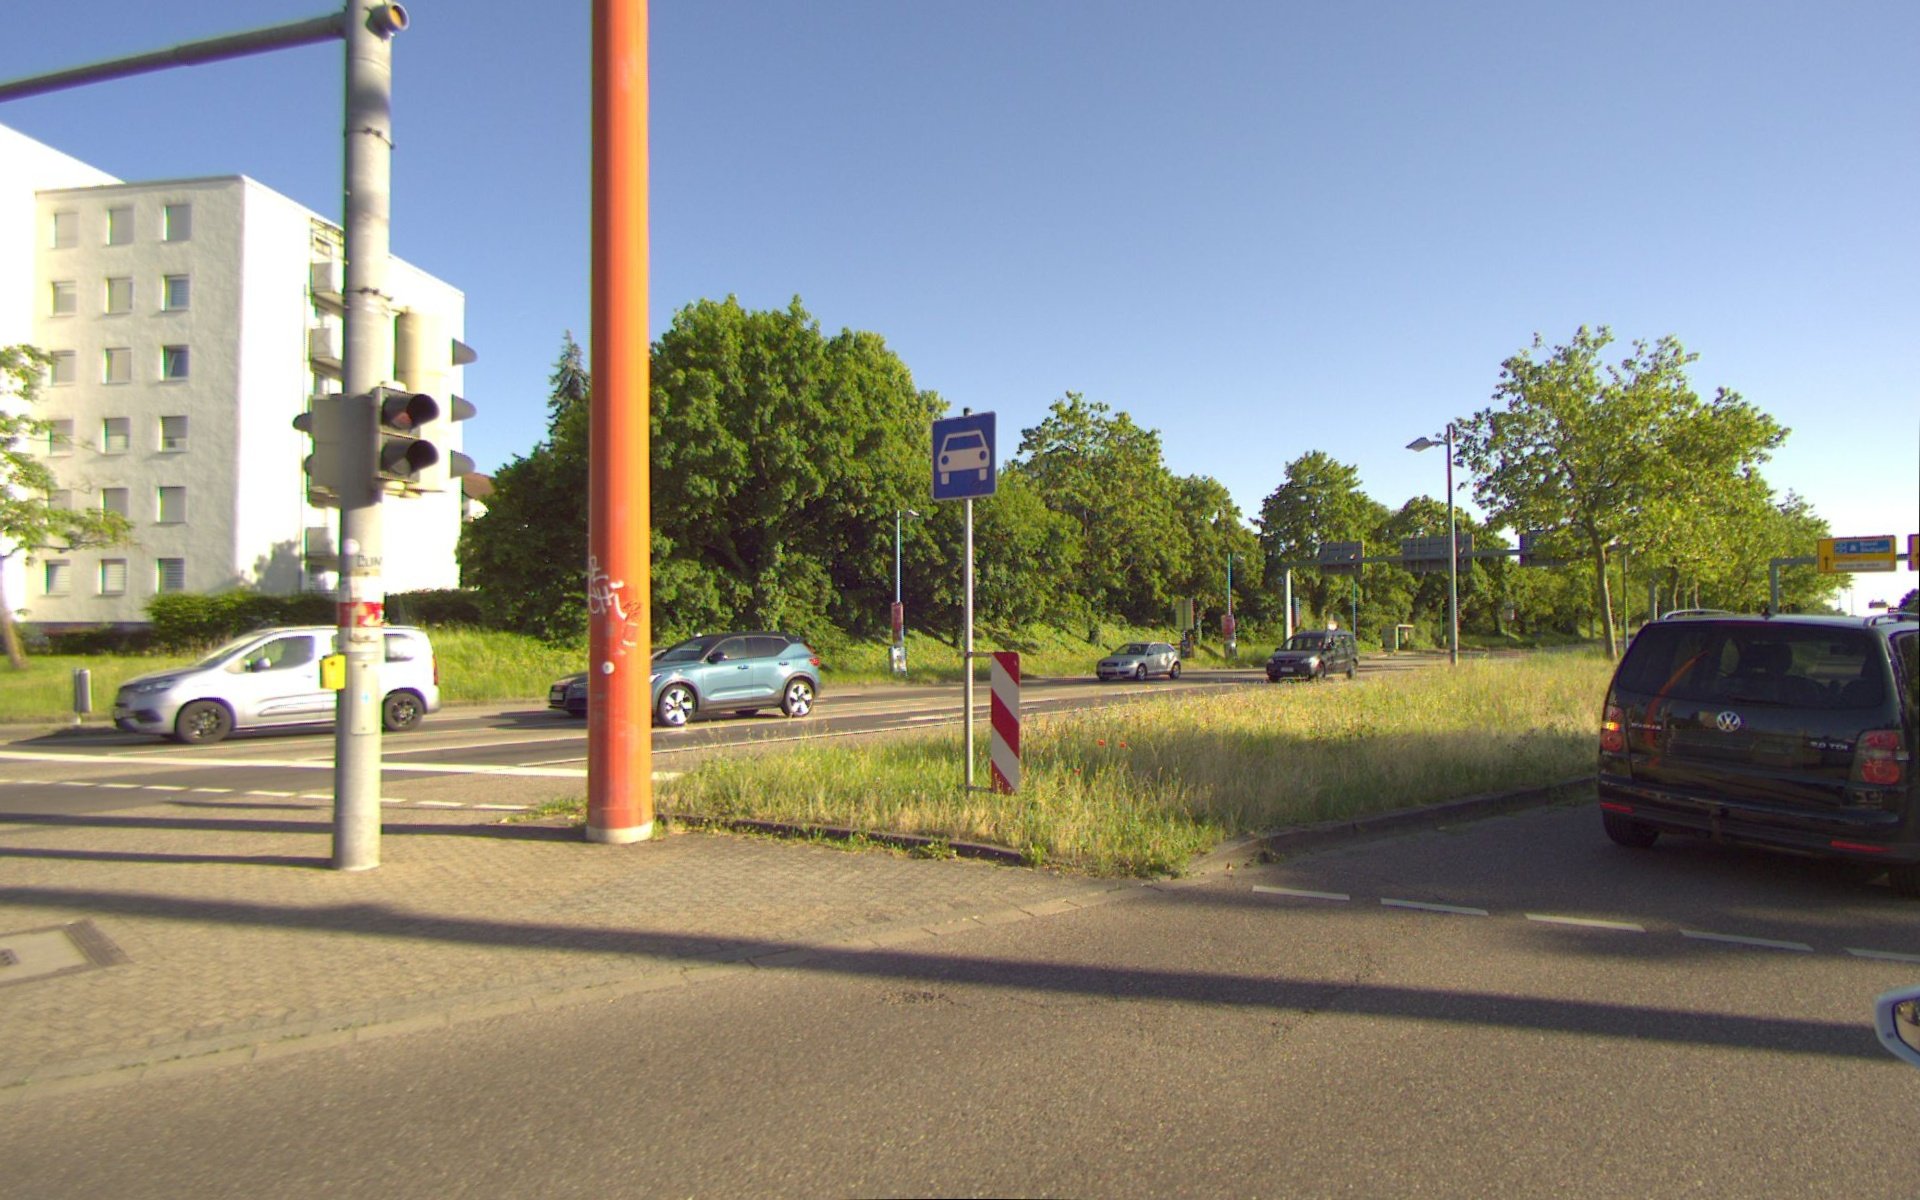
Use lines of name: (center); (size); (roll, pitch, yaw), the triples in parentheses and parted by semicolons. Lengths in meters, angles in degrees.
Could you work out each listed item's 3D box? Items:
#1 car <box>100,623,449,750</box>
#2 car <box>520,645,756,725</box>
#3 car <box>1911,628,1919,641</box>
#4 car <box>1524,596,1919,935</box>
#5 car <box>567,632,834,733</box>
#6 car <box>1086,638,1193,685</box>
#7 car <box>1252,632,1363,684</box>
car: (-11.094, 1.323, 16.540); (1.877, 1.798, 4.425); (-4, -4, 40)
car: (-6.781, 1.743, 21.550); (1.877, 1.493, 4.543); (-4, -4, 40)
car: (109.288, 3.883, 114.044); (1.748, 1.483, 4.342); (-1, -2, 42)
car: (6.080, 0.868, 7.099); (4.874, 1.665, 1.756); (1, -2, -36)
car: (-4.653, 1.431, 18.569); (1.877, 1.631, 4.543); (-4, -4, 40)
car: (6.775, 2.269, 37.614); (1.877, 1.631, 4.543); (-4, -4, 40)
car: (11.473, 1.869, 33.012); (1.877, 1.585, 4.543); (-4, -4, 40)
